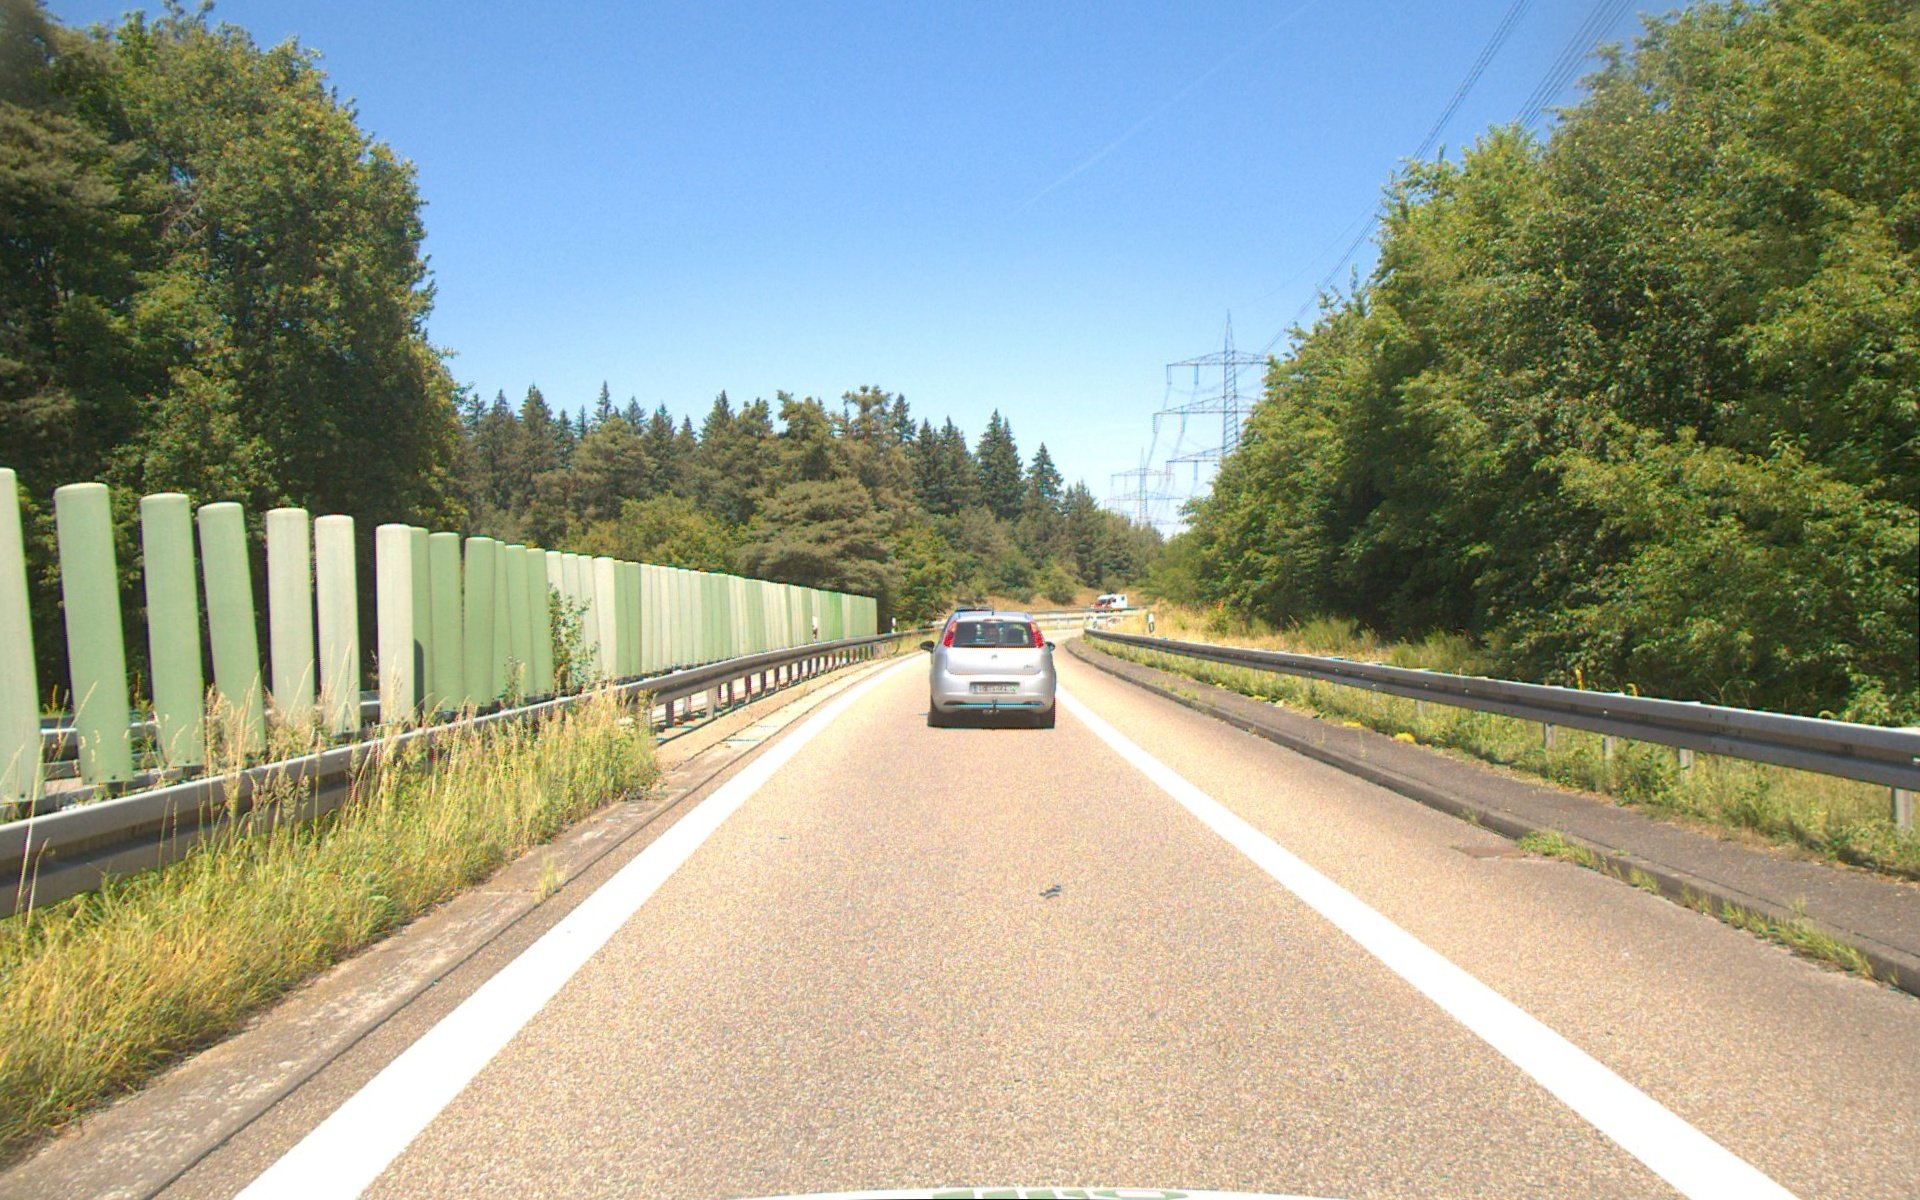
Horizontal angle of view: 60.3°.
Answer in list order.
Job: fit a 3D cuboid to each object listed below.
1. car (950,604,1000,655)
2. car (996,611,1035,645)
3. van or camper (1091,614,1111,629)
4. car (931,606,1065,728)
[{"bbox_3d":[0.499,1.020,58.506,1.671,1.705,3.397,0,0,-1],"label":"car"},{"bbox_3d":[2.909,1.478,87.615,1.843,1.713,3.999,-3,-1,0],"label":"car"},{"bbox_3d":[15.159,2.308,177.344,1.768,1.512,4.004,0,0,10],"label":"van or camper"},{"bbox_3d":[0.490,0.846,22.424,1.671,1.508,3.398,0,0,0],"label":"car"}]
